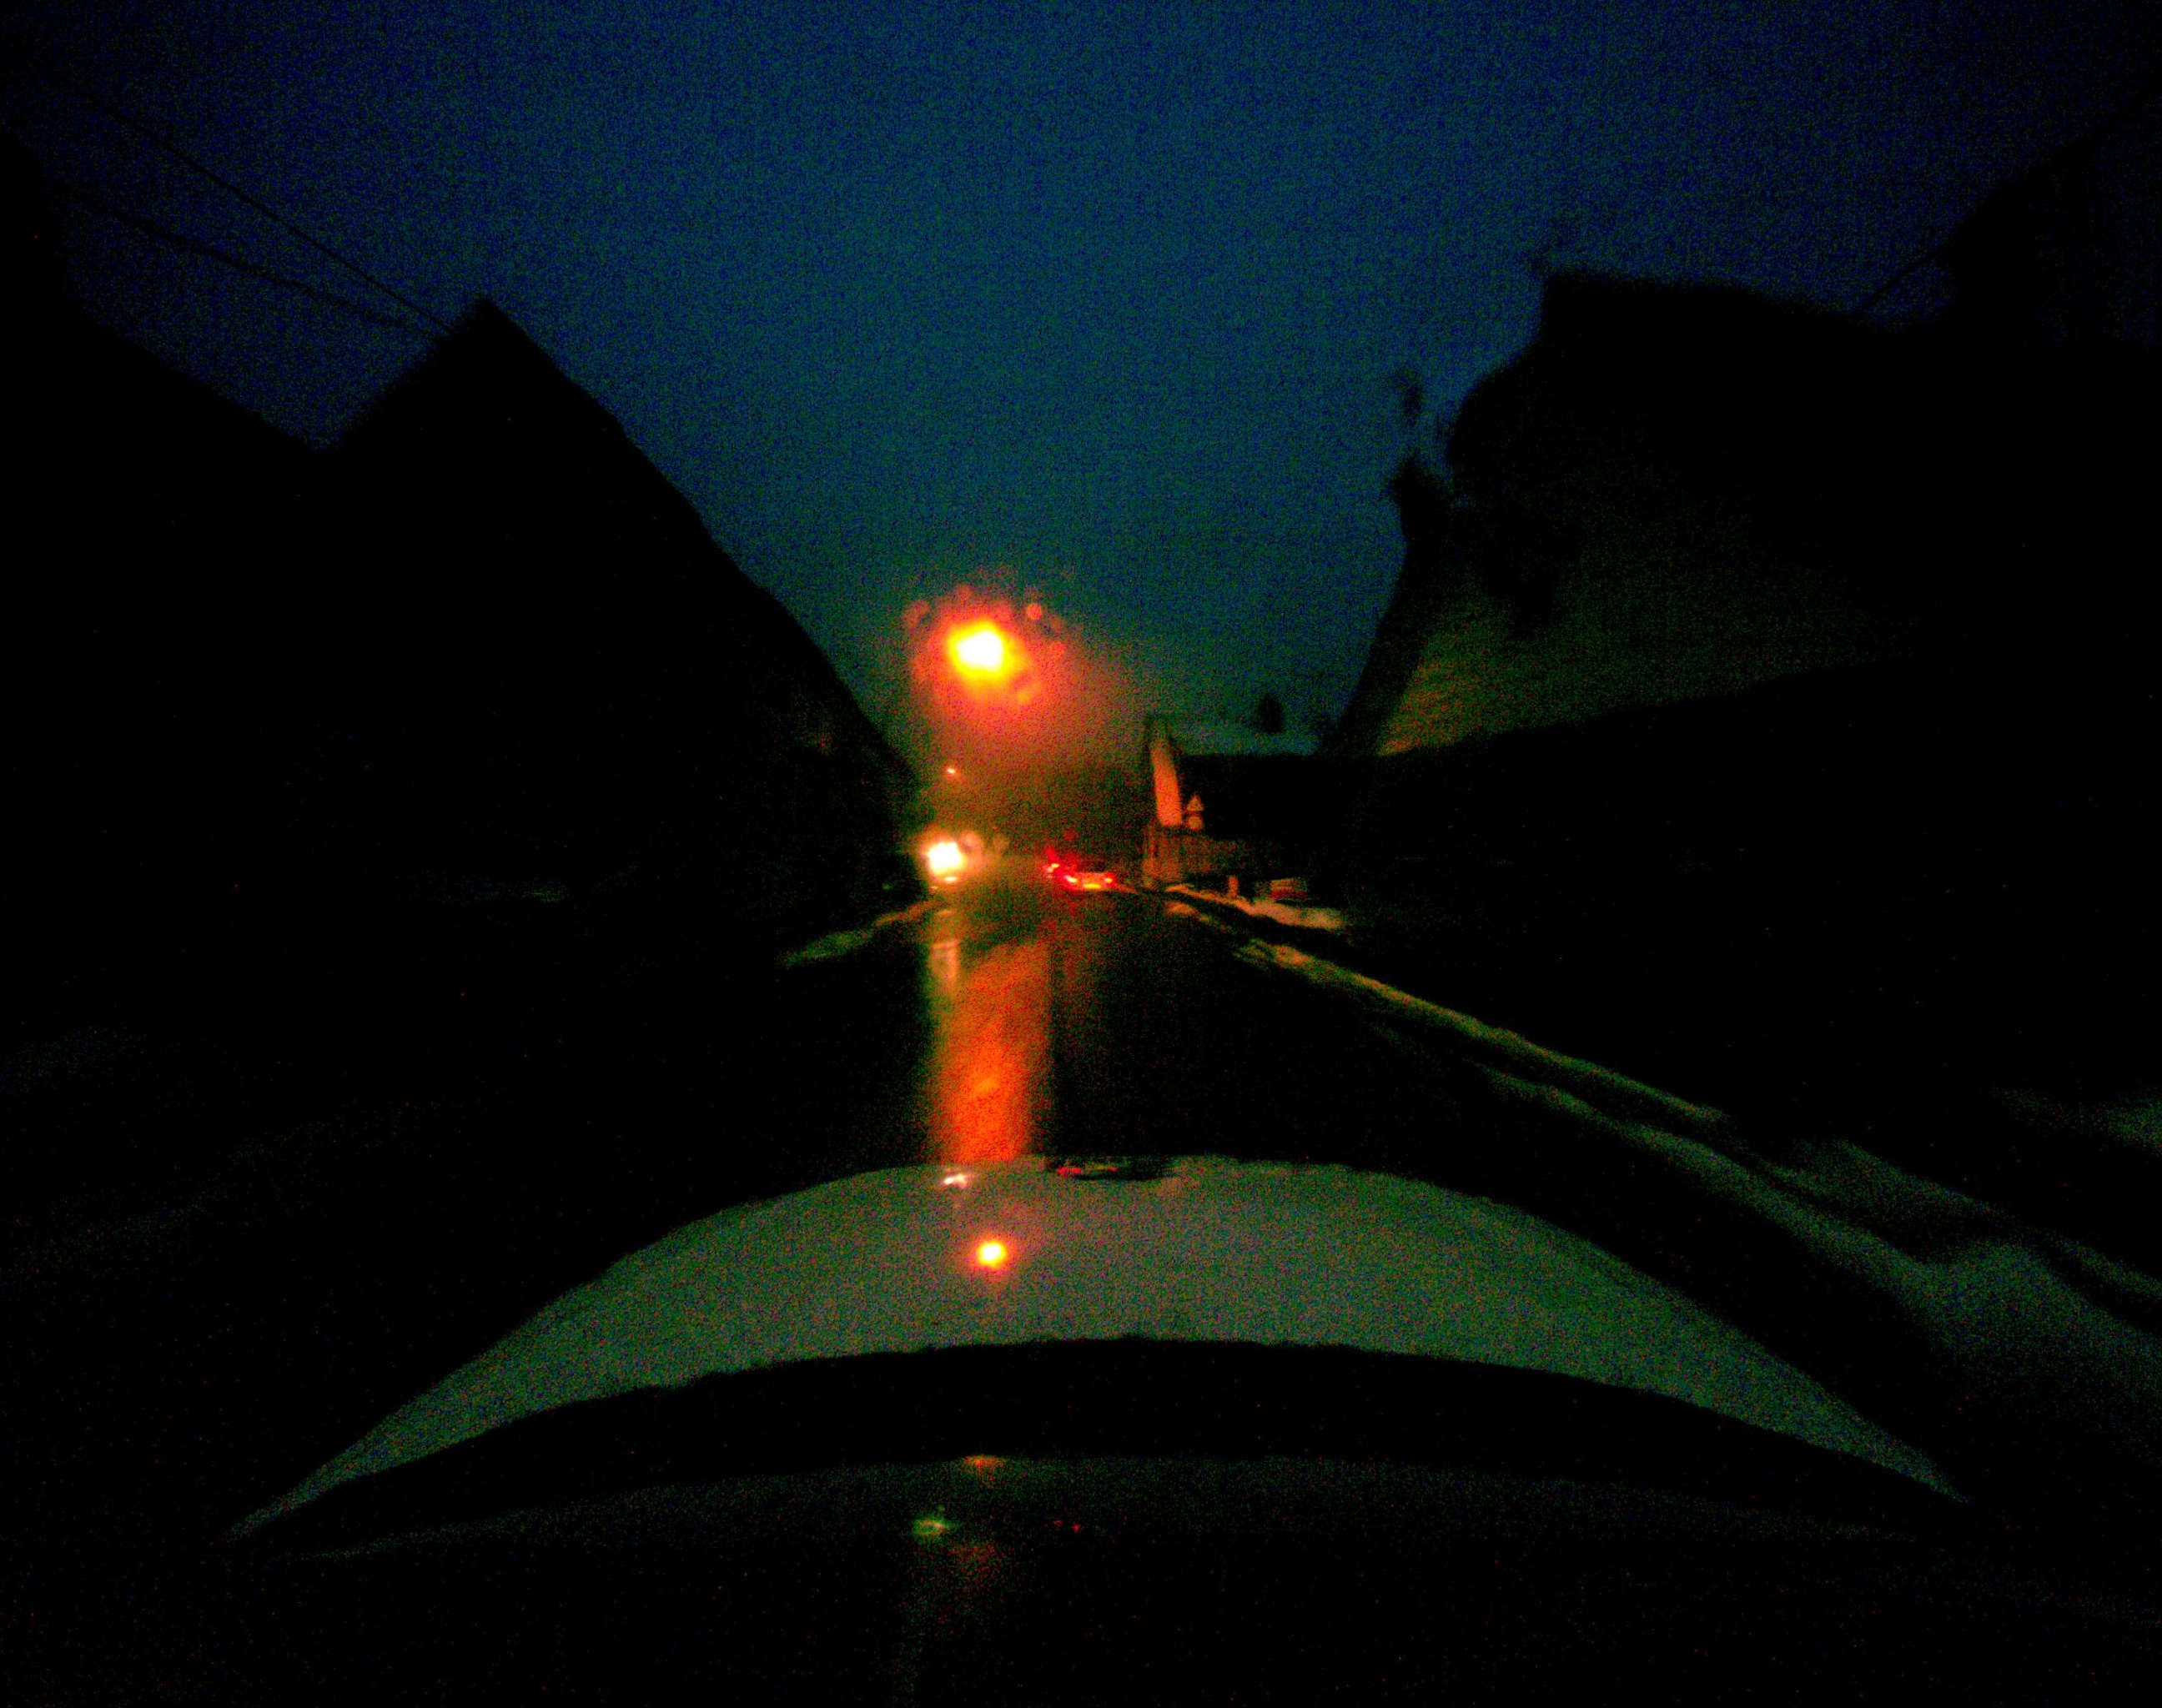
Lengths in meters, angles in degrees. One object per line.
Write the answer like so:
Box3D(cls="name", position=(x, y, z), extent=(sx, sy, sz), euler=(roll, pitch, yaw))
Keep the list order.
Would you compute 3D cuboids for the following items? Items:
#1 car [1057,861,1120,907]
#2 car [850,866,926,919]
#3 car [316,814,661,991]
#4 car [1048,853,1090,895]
Box3D(cls="car", position=(0.213, 1.091, 30.170), extent=(1.990, 1.508, 3.994), euler=(2, -2, -4))
Box3D(cls="car", position=(-6.577, 1.281, 28.171), extent=(1.991, 1.522, 4.182), euler=(2, 1, -6))
Box3D(cls="car", position=(-7.280, 0.449, 10.720), extent=(1.765, 1.736, 4.623), euler=(4, 1, -11))
Box3D(cls="car", position=(-0.656, 1.057, 42.469), extent=(1.988, 2.014, 3.996), euler=(2, -2, -2))
